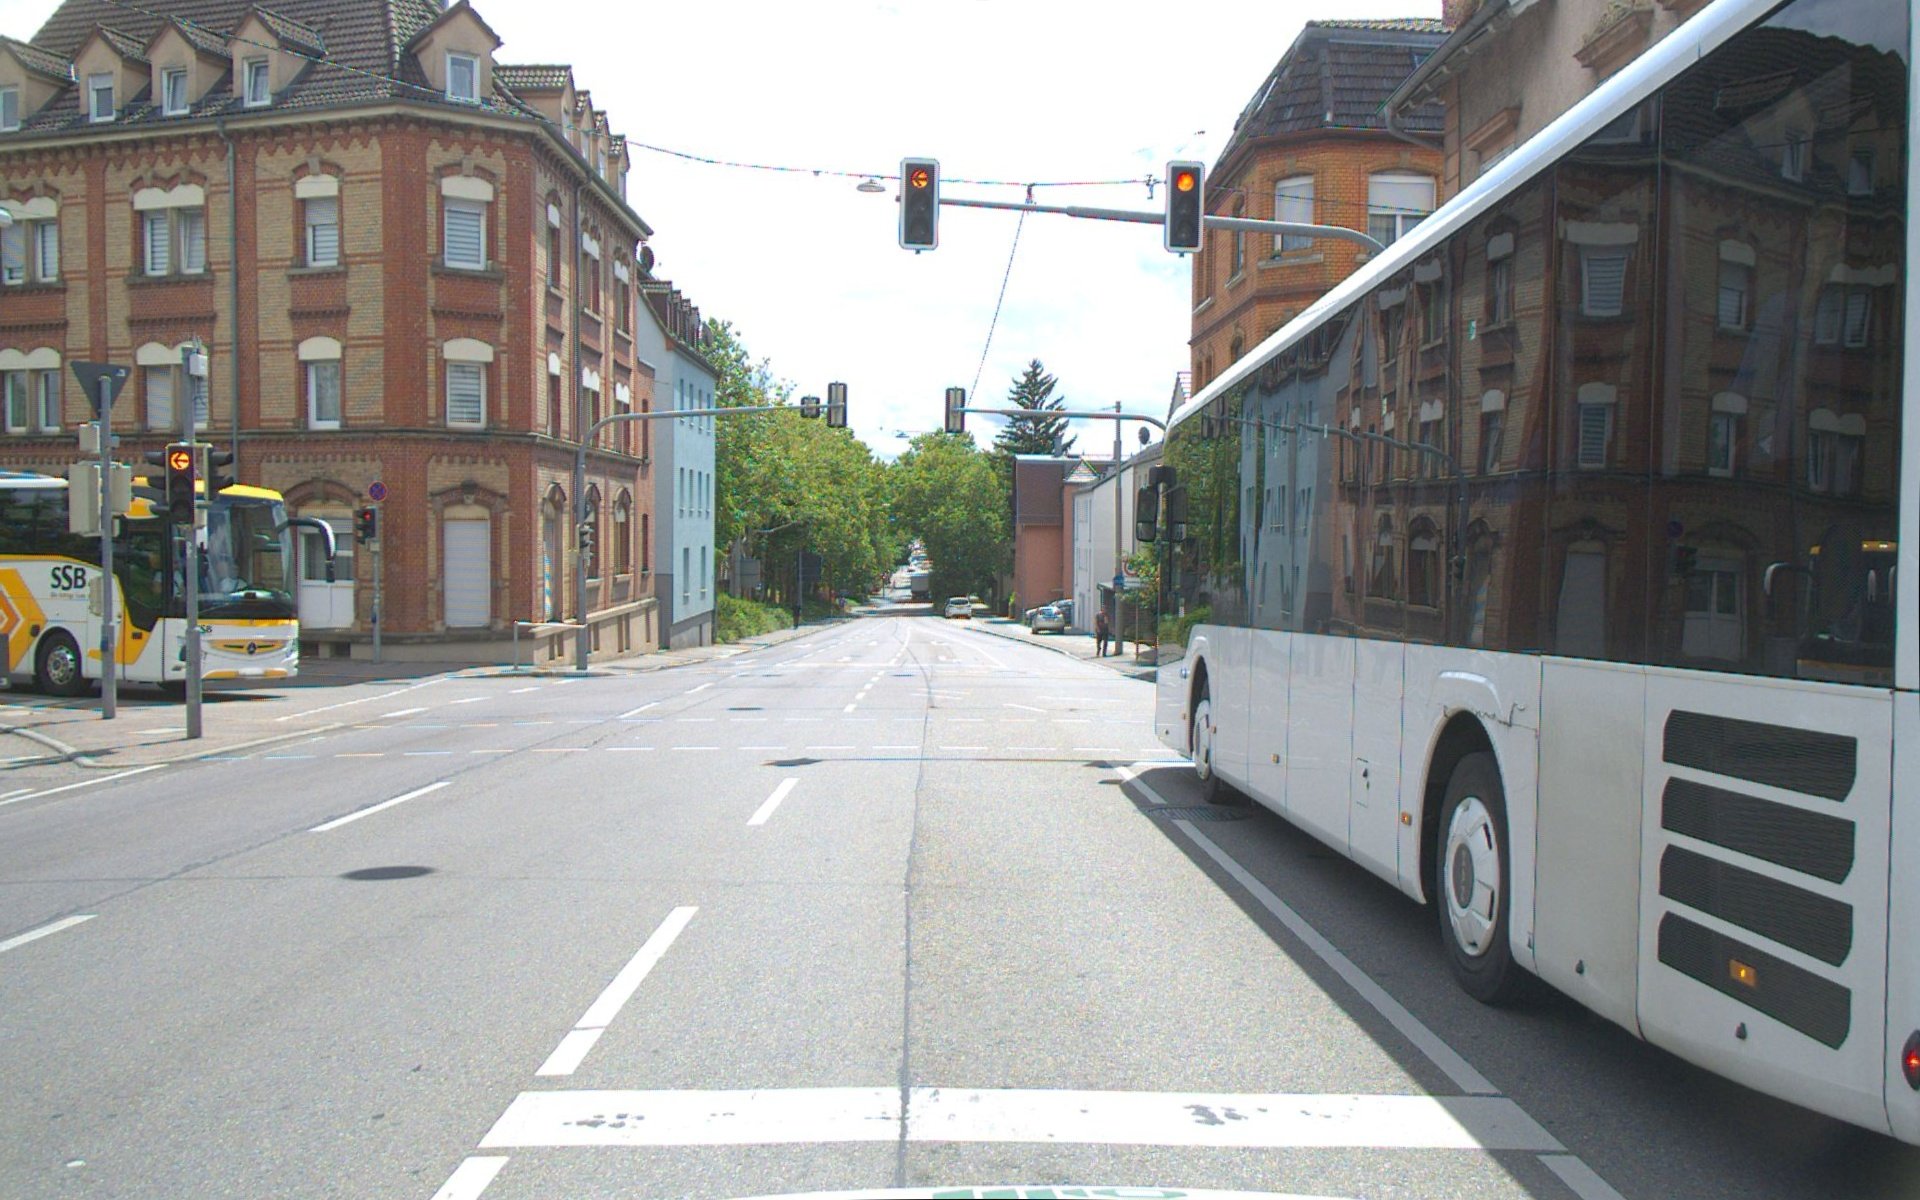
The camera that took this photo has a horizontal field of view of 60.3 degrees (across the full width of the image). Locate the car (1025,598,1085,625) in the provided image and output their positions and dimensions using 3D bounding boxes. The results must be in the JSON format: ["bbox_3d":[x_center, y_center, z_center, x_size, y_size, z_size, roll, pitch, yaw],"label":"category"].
[{"bbox_3d":[6.492,0.772,113.255,3.909,1.788,1.998,-1,0,-6],"label":"car"}]

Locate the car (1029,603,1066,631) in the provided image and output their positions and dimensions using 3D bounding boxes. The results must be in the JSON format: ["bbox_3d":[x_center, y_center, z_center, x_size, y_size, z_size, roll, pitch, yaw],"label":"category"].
[{"bbox_3d":[4.917,0.941,93.130,1.758,1.434,3.999,-1,1,-2],"label":"car"}]

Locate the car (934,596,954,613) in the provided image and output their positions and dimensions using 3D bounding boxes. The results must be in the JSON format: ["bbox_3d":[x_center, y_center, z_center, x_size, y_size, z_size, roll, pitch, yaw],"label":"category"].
[{"bbox_3d":[-1.399,0.396,145.797,1.757,1.434,4.418,1,0,0],"label":"car"}]

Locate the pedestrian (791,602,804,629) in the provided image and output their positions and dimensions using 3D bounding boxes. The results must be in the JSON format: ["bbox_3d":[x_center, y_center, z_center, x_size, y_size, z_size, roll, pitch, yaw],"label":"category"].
[{"bbox_3d":[-9.628,0.924,98.186,0.714,1.592,0.560,0,0,-2],"label":"pedestrian"}]

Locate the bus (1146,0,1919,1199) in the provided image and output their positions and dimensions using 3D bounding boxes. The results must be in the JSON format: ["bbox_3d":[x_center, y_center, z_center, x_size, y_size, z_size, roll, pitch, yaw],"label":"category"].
[{"bbox_3d":[3.132,-0.152,9.349,2.618,3.211,12.459,0,0,-1],"label":"bus"}]

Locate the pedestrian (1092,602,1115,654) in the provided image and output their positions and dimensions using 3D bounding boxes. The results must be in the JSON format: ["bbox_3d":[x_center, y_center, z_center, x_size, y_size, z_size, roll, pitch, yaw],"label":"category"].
[{"bbox_3d":[4.974,0.973,57.433,0.723,1.781,0.619,-1,0,-1],"label":"pedestrian"}]

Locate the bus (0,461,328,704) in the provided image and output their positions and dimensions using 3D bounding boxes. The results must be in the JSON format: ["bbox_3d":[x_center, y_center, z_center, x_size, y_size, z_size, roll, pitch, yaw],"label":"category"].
[{"bbox_3d":[-16.629,-0.308,28.712,11.976,3.685,2.771,0,0,23],"label":"bus"}]

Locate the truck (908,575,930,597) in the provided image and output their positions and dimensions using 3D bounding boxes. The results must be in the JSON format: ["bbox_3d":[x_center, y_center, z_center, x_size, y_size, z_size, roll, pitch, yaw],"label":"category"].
[{"bbox_3d":[-5.792,-1.993,235.247,2.868,3.135,7.881,-1,0,-3],"label":"truck"}]

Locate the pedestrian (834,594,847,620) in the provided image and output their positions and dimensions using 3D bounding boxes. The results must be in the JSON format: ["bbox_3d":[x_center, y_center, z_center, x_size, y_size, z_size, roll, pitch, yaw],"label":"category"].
[{"bbox_3d":[-9.422,0.525,130.257,0.974,2.049,1.188,0,0,-1],"label":"pedestrian"}]

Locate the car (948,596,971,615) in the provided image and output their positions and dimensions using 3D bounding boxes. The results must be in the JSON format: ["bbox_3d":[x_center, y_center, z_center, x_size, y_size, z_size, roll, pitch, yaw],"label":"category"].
[{"bbox_3d":[-0.058,0.450,129.442,1.758,1.434,3.999,1,0,-1],"label":"car"}]

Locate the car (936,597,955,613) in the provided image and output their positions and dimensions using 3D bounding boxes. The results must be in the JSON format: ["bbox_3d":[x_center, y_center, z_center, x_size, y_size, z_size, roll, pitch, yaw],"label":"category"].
[{"bbox_3d":[-1.328,0.506,153.903,1.757,1.434,4.418,1,0,0],"label":"car"}]
